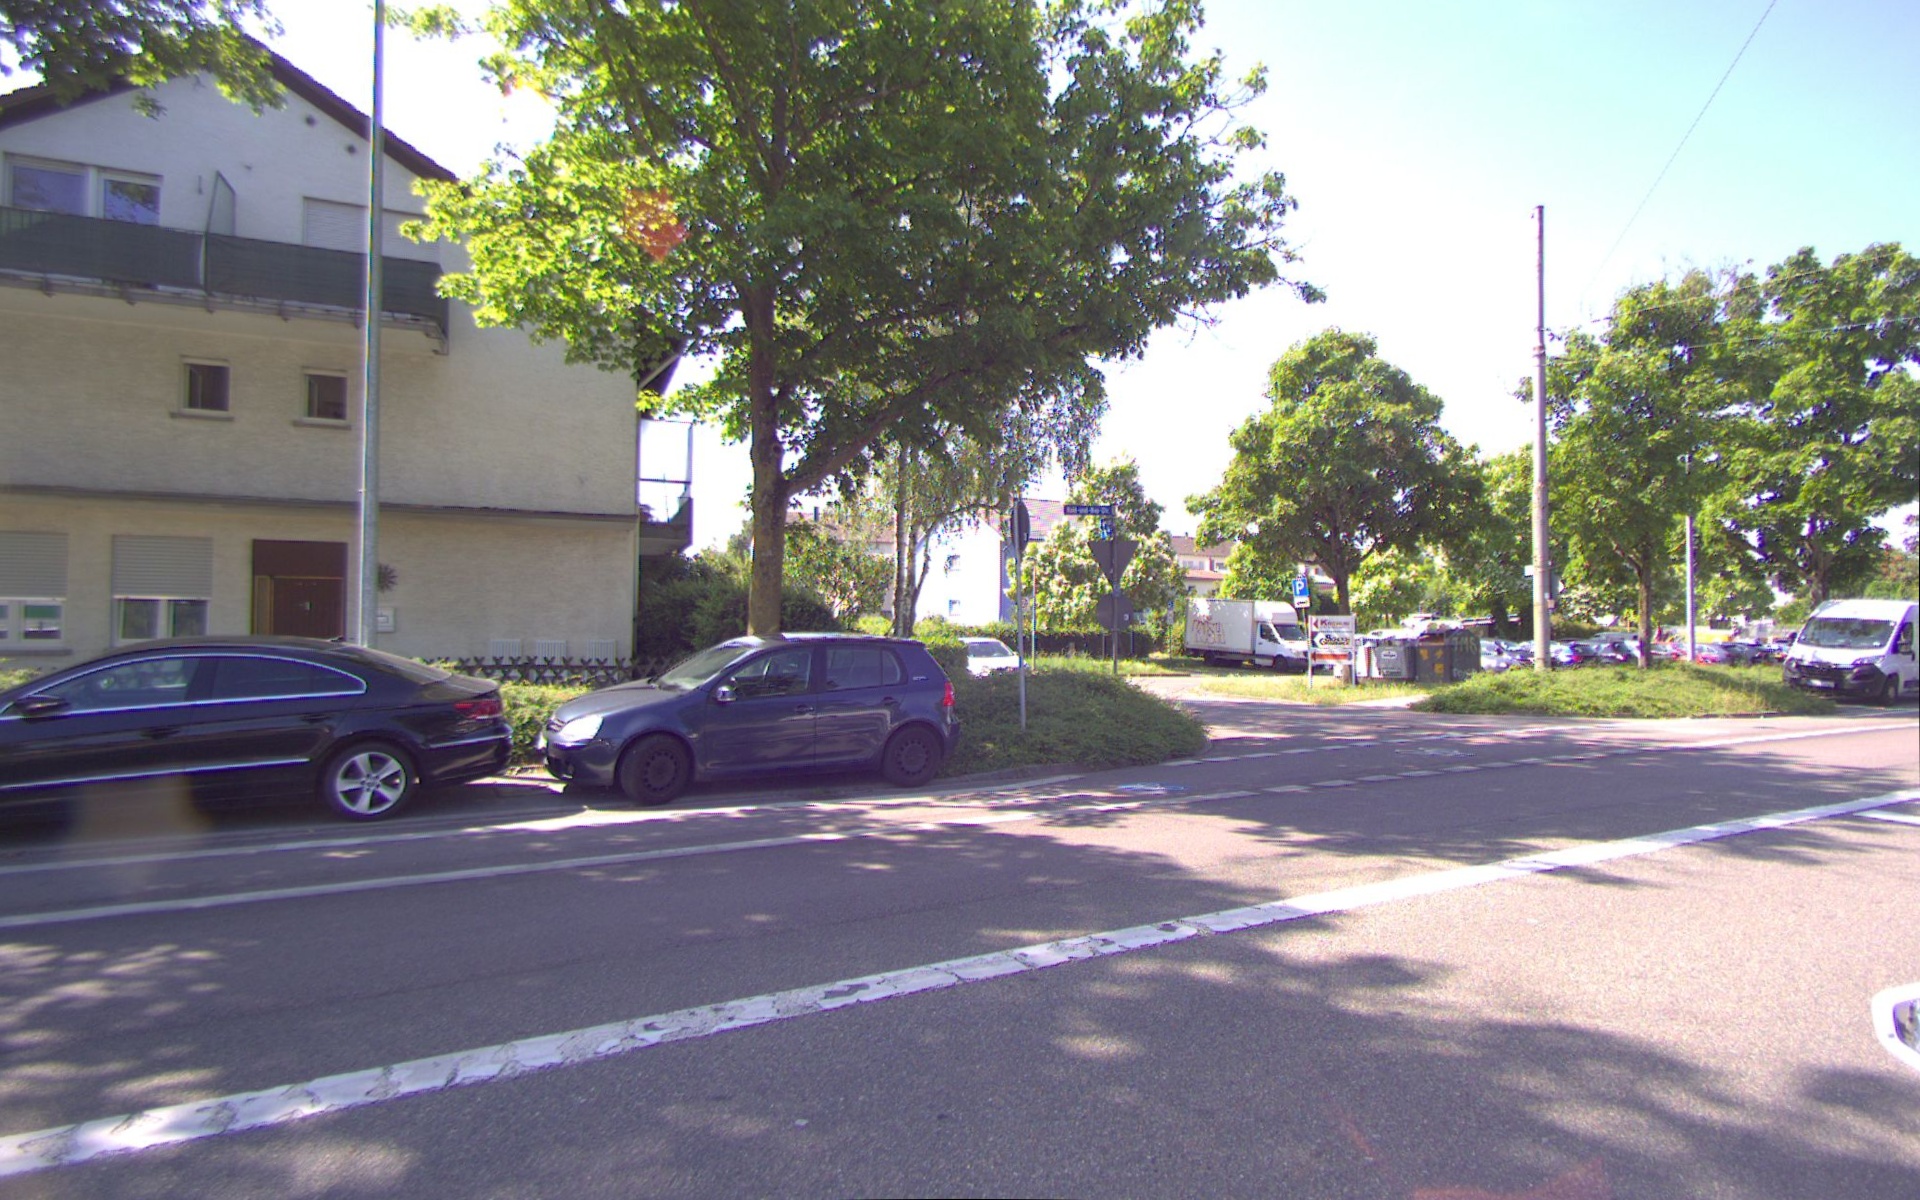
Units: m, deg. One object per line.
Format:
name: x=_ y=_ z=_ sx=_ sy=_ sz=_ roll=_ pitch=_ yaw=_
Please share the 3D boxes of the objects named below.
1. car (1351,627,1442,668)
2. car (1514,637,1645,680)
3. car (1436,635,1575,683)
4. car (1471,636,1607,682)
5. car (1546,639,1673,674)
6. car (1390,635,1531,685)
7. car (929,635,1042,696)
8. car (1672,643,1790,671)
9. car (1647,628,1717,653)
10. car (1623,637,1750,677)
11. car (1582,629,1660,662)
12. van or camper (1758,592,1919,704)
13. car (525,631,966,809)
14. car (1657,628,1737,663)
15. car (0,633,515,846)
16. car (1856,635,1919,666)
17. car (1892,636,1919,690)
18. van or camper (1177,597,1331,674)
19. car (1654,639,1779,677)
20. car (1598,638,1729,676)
car: x=22.136 y=2.384 z=51.076 sx=1.766 sy=1.916 sz=3.964 roll=1 pitch=-1 yaw=-33
car: x=23.511 y=2.189 z=38.246 sx=1.644 sy=1.564 sz=3.969 roll=2 pitch=-3 yaw=-30
car: x=18.802 y=2.013 z=34.815 sx=1.645 sy=1.564 sz=3.967 roll=2 pitch=-3 yaw=-31
car: x=20.872 y=2.097 z=36.368 sx=1.645 sy=1.564 sz=3.967 roll=2 pitch=-3 yaw=-31
car: x=25.453 y=2.198 z=39.500 sx=1.644 sy=1.287 sz=3.898 roll=2 pitch=-3 yaw=-30
car: x=16.623 y=1.950 z=33.549 sx=1.645 sy=1.564 sz=3.967 roll=2 pitch=-3 yaw=-31
car: x=0.627 y=1.784 z=28.135 sx=1.781 sy=1.545 sz=3.981 roll=0 pitch=-2 yaw=-21
car: x=34.225 y=2.507 z=44.680 sx=1.644 sy=1.169 sz=3.871 roll=2 pitch=-3 yaw=-30
car: x=67.225 y=3.773 z=93.576 sx=2.077 sy=2.202 sz=4.902 roll=2 pitch=-3 yaw=-32
car: x=30.129 y=2.345 z=41.794 sx=1.644 sy=1.564 sz=3.969 roll=1 pitch=-2 yaw=-30
car: x=44.424 y=3.040 z=67.574 sx=1.890 sy=2.030 sz=3.964 roll=1 pitch=-1 yaw=-33
van or camper: x=22.974 y=1.194 z=25.376 sx=6.072 sy=2.547 sz=2.248 roll=1 pitch=-2 yaw=-29
car: x=-2.075 y=1.054 z=10.019 sx=4.033 sy=1.470 sz=1.609 roll=1 pitch=-2 yaw=-29
car: x=49.857 y=3.048 z=67.973 sx=1.890 sy=2.229 sz=3.964 roll=1 pitch=-1 yaw=-33
car: x=-6.037 y=0.973 z=7.881 sx=4.525 sy=1.413 sz=1.690 roll=1 pitch=-2 yaw=-29
car: x=52.883 y=2.824 z=56.051 sx=1.645 sy=1.716 sz=3.967 roll=2 pitch=-3 yaw=-31
car: x=28.536 y=1.774 z=28.393 sx=4.829 sy=1.474 sz=1.923 roll=1 pitch=-2 yaw=-31
van or camper: x=13.417 y=1.542 z=46.398 sx=2.553 sy=3.288 sz=6.913 roll=1 pitch=-1 yaw=-31
car: x=32.468 y=2.460 z=43.216 sx=1.644 sy=1.564 sz=3.969 roll=2 pitch=-3 yaw=-30
car: x=28.142 y=2.263 z=40.305 sx=1.712 sy=1.428 sz=3.969 roll=1 pitch=-2 yaw=-30
